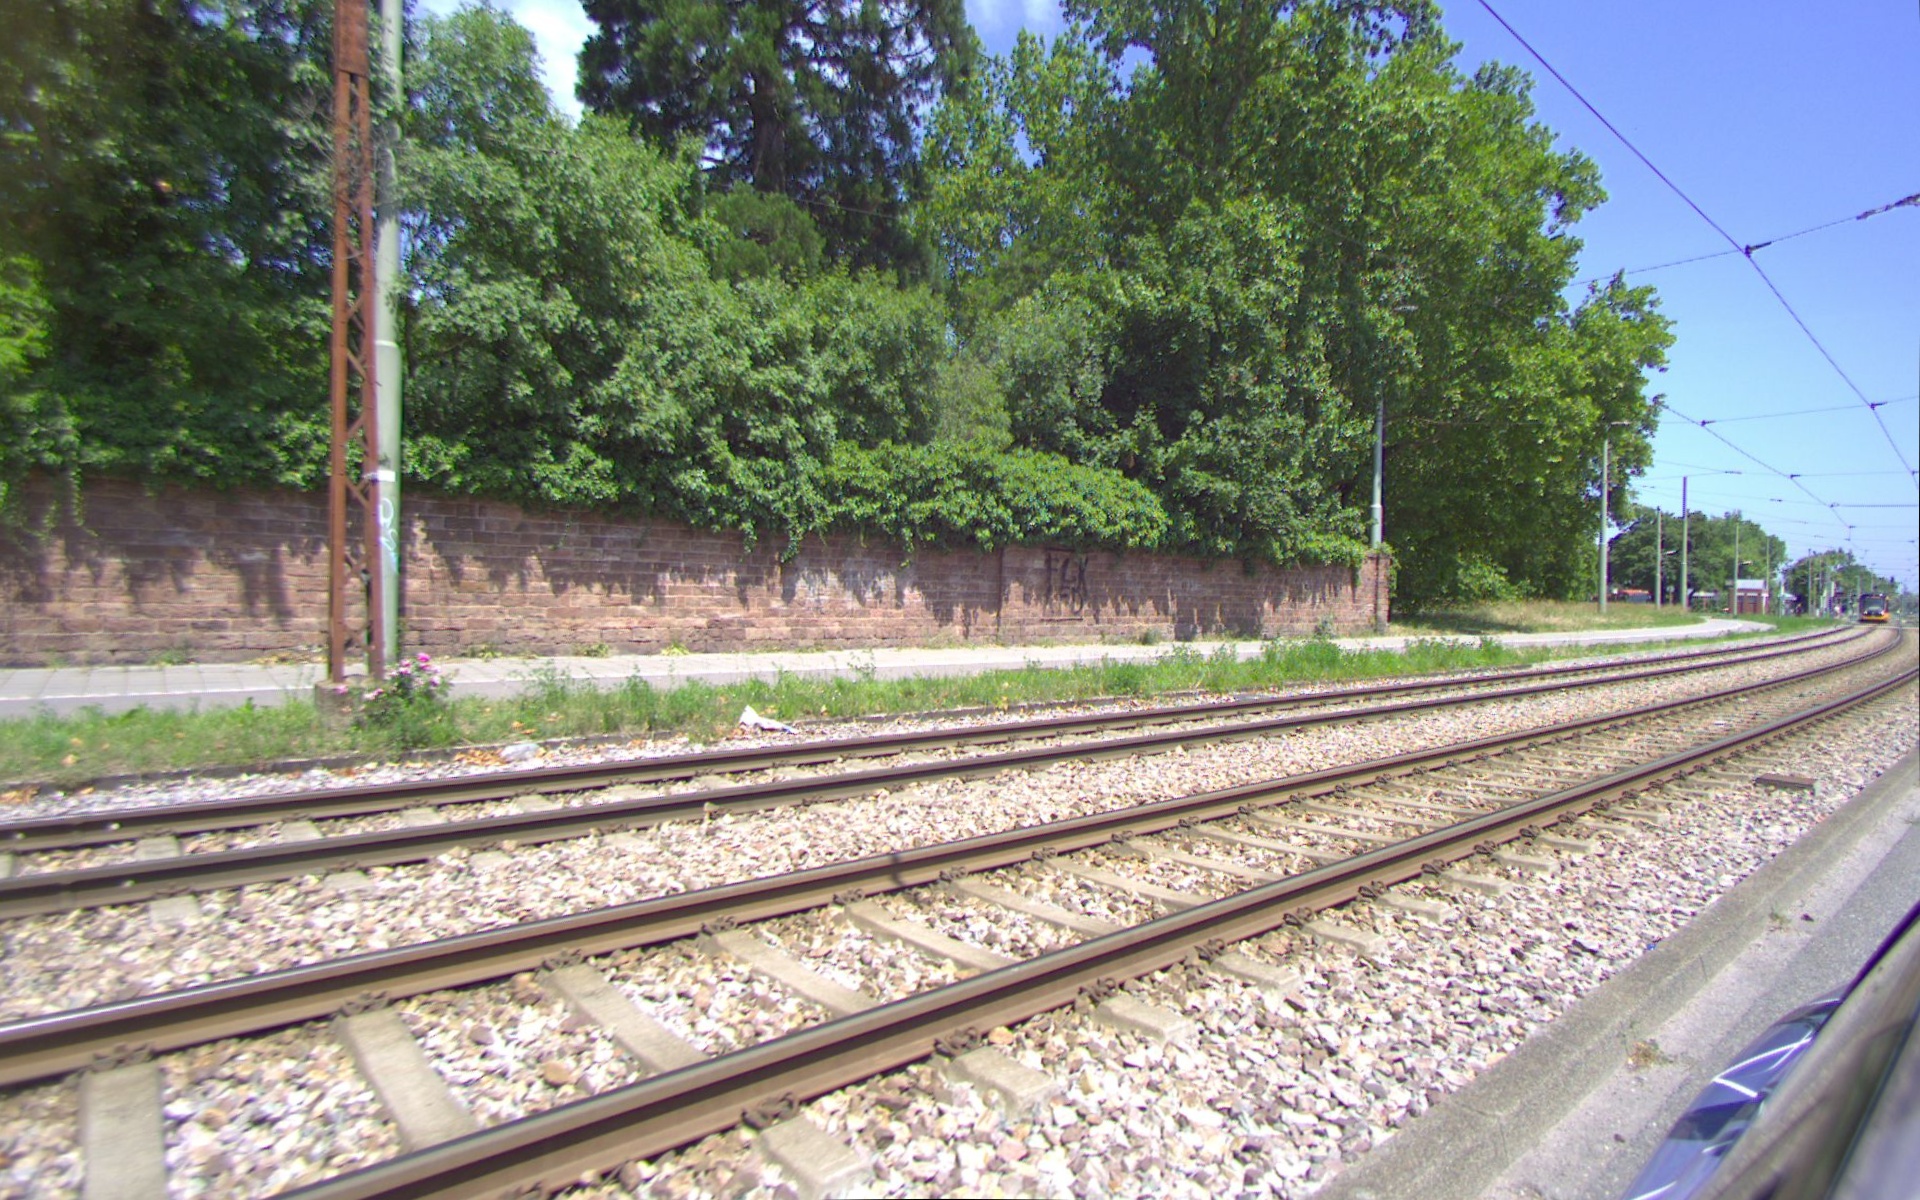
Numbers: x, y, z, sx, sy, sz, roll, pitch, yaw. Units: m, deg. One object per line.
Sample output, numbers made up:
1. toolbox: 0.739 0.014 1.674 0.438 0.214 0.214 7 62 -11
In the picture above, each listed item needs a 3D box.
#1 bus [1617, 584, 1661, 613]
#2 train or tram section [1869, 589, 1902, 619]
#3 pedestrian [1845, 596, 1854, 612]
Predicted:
1. bus: 87.971 -0.252 131.375 2.739 3.482 12.340 0 0 25
2. train or tram section: 108.366 0.509 118.451 2.520 3.364 7.142 2 1 45
3. pedestrian: 98.439 0.482 112.000 0.631 1.781 0.808 0 0 31
